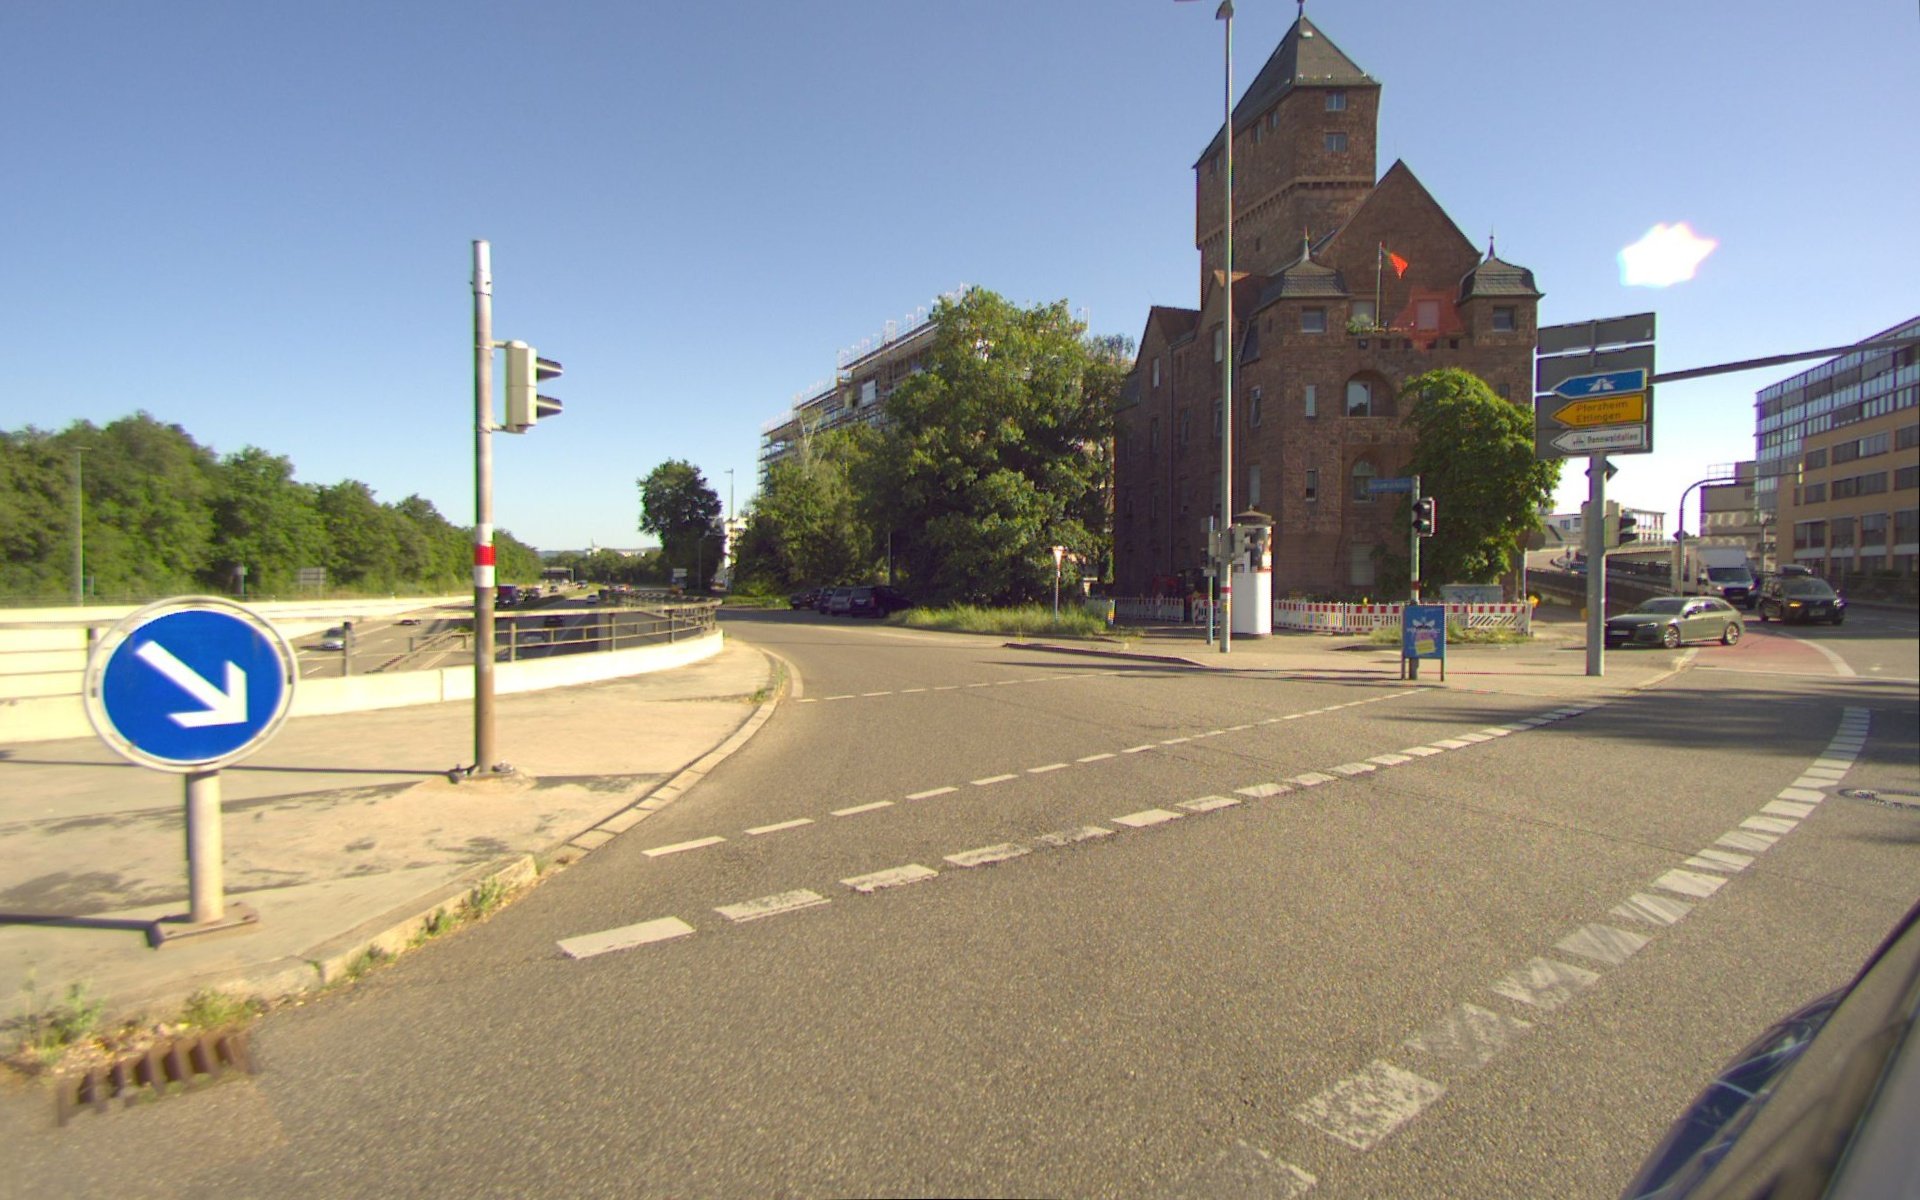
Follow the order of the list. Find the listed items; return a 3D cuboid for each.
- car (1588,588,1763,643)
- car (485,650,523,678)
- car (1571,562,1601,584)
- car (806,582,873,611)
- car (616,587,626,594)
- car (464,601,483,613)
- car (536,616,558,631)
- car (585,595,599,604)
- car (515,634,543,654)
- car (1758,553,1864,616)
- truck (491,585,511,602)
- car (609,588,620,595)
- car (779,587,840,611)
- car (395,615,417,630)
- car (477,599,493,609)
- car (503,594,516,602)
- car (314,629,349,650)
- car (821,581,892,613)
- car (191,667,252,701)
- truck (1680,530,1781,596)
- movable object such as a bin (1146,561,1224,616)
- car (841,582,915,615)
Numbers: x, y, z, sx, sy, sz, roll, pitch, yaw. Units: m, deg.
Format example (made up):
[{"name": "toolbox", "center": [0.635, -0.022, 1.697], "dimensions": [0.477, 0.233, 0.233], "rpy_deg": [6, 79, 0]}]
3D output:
[{"name": "car", "center": [20.782, 0.426, 29.396], "dimensions": [4.538, 1.489, 1.883], "rpy_deg": [-1, -1, -20]}, {"name": "car", "center": [-29.169, 4.058, 64.809], "dimensions": [1.958, 1.415, 4.008], "rpy_deg": [-3, 1, -21]}, {"name": "car", "center": [52.446, -2.274, 84.842], "dimensions": [1.740, 1.781, 4.741], "rpy_deg": [0, 1, 27]}, {"name": "car", "center": [-6.797, -0.229, 57.348], "dimensions": [1.983, 1.581, 3.742], "rpy_deg": [1, 1, 30]}, {"name": "car", "center": [-81.230, -2.262, 242.569], "dimensions": [1.958, 1.415, 4.008], "rpy_deg": [-3, 1, -21]}, {"name": "car", "center": [-63.803, 0.870, 132.782], "dimensions": [1.958, 1.415, 4.008], "rpy_deg": [-3, 1, -21]}, {"name": "car", "center": [-43.721, 2.471, 107.217], "dimensions": [1.958, 1.415, 4.008], "rpy_deg": [-3, 1, -21]}, {"name": "car", "center": [-59.814, -0.080, 164.478], "dimensions": [1.958, 1.415, 4.008], "rpy_deg": [-3, 1, -21]}, {"name": "car", "center": [-36.368, 3.700, 85.520], "dimensions": [1.958, 1.415, 4.008], "rpy_deg": [-3, 1, -21]}, {"name": "car", "center": [33.152, -0.626, 39.597], "dimensions": [1.931, 2.290, 4.745], "rpy_deg": [0, 1, 24]}, {"name": "truck", "center": [-68.161, -0.953, 150.474], "dimensions": [2.239, 2.416, 5.395], "rpy_deg": [-3, 1, -20]}, {"name": "car", "center": [-71.942, -1.809, 210.429], "dimensions": [1.958, 1.415, 4.008], "rpy_deg": [-3, 1, -21]}, {"name": "car", "center": [-9.551, -0.102, 64.392], "dimensions": [1.983, 1.472, 3.742], "rpy_deg": [1, 1, 30]}, {"name": "car", "center": [-61.772, 2.496, 112.892], "dimensions": [1.823, 1.583, 4.007], "rpy_deg": [0, 0, -23]}, {"name": "car", "center": [-74.655, 0.660, 158.951], "dimensions": [1.958, 1.415, 4.008], "rpy_deg": [-3, 1, -21]}, {"name": "car", "center": [-82.935, -0.412, 186.288], "dimensions": [1.958, 1.415, 4.008], "rpy_deg": [-3, 1, -21]}, {"name": "car", "center": [-52.404, 3.248, 84.490], "dimensions": [1.959, 1.594, 4.007], "rpy_deg": [0, 0, -24]}, {"name": "car", "center": [-5.441, -0.181, 53.593], "dimensions": [1.983, 1.581, 3.742], "rpy_deg": [1, 1, 30]}, {"name": "car", "center": [-41.329, 4.647, 56.705], "dimensions": [1.959, 1.505, 4.007], "rpy_deg": [0, 0, -24]}, {"name": "truck", "center": [39.352, -1.823, 51.924], "dimensions": [2.476, 3.167, 6.906], "rpy_deg": [0, 1, 23]}, {"name": "movable object such as a bin", "center": [10.500, -0.543, 47.444], "dimensions": [1.958, 2.439, 4.009], "rpy_deg": [0, 1, -14]}, {"name": "car", "center": [-4.083, -0.102, 50.795], "dimensions": [1.983, 1.581, 3.742], "rpy_deg": [1, 1, 30]}]
